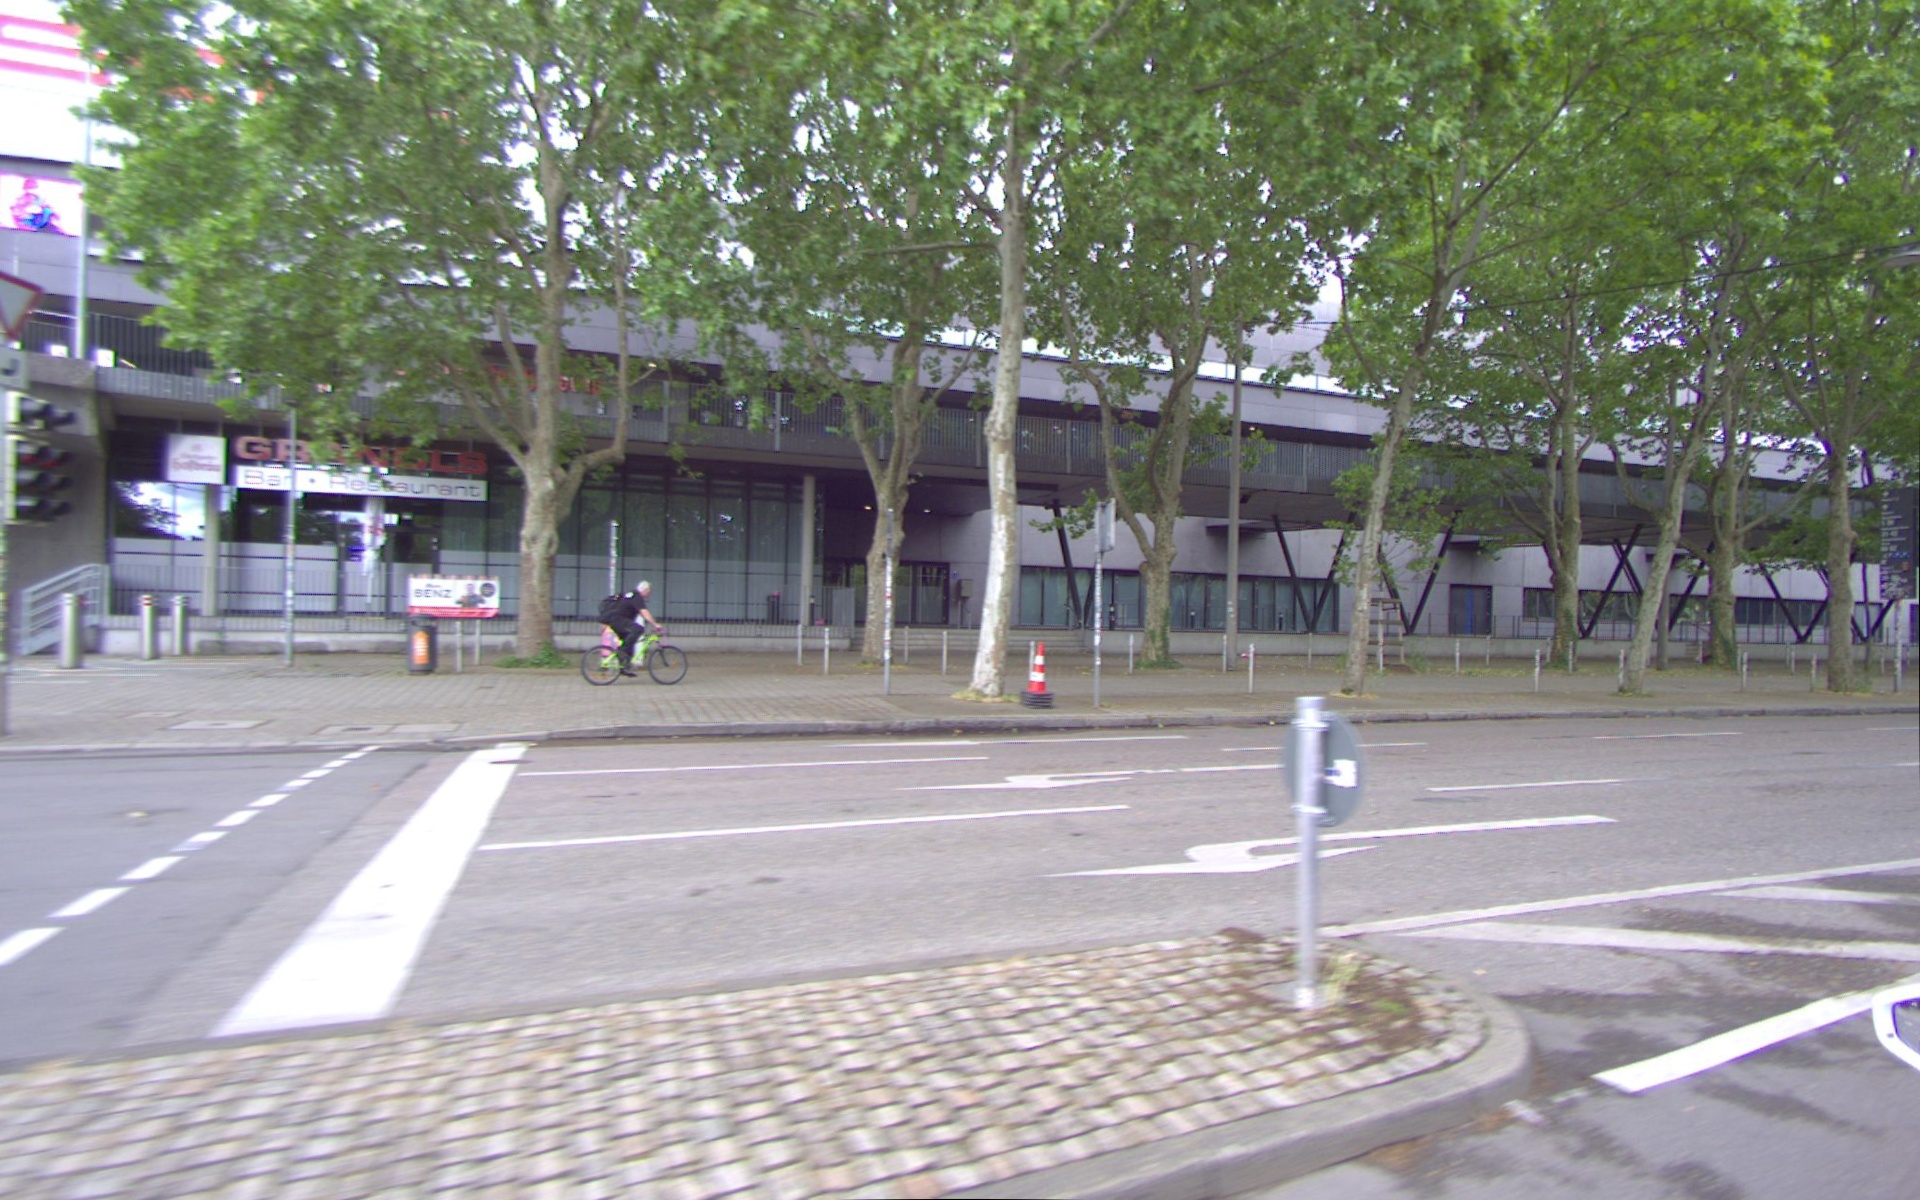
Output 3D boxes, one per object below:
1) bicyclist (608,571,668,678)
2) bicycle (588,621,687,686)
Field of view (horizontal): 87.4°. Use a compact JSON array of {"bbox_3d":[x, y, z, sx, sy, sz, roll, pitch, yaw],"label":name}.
[{"bbox_3d":[-5.446,0.423,16.976,0.842,1.719,0.763,3,-2,-22],"label":"bicyclist"},{"bbox_3d":[-5.447,0.910,16.961,1.516,1.026,0.514,3,-2,-23],"label":"bicycle"}]
